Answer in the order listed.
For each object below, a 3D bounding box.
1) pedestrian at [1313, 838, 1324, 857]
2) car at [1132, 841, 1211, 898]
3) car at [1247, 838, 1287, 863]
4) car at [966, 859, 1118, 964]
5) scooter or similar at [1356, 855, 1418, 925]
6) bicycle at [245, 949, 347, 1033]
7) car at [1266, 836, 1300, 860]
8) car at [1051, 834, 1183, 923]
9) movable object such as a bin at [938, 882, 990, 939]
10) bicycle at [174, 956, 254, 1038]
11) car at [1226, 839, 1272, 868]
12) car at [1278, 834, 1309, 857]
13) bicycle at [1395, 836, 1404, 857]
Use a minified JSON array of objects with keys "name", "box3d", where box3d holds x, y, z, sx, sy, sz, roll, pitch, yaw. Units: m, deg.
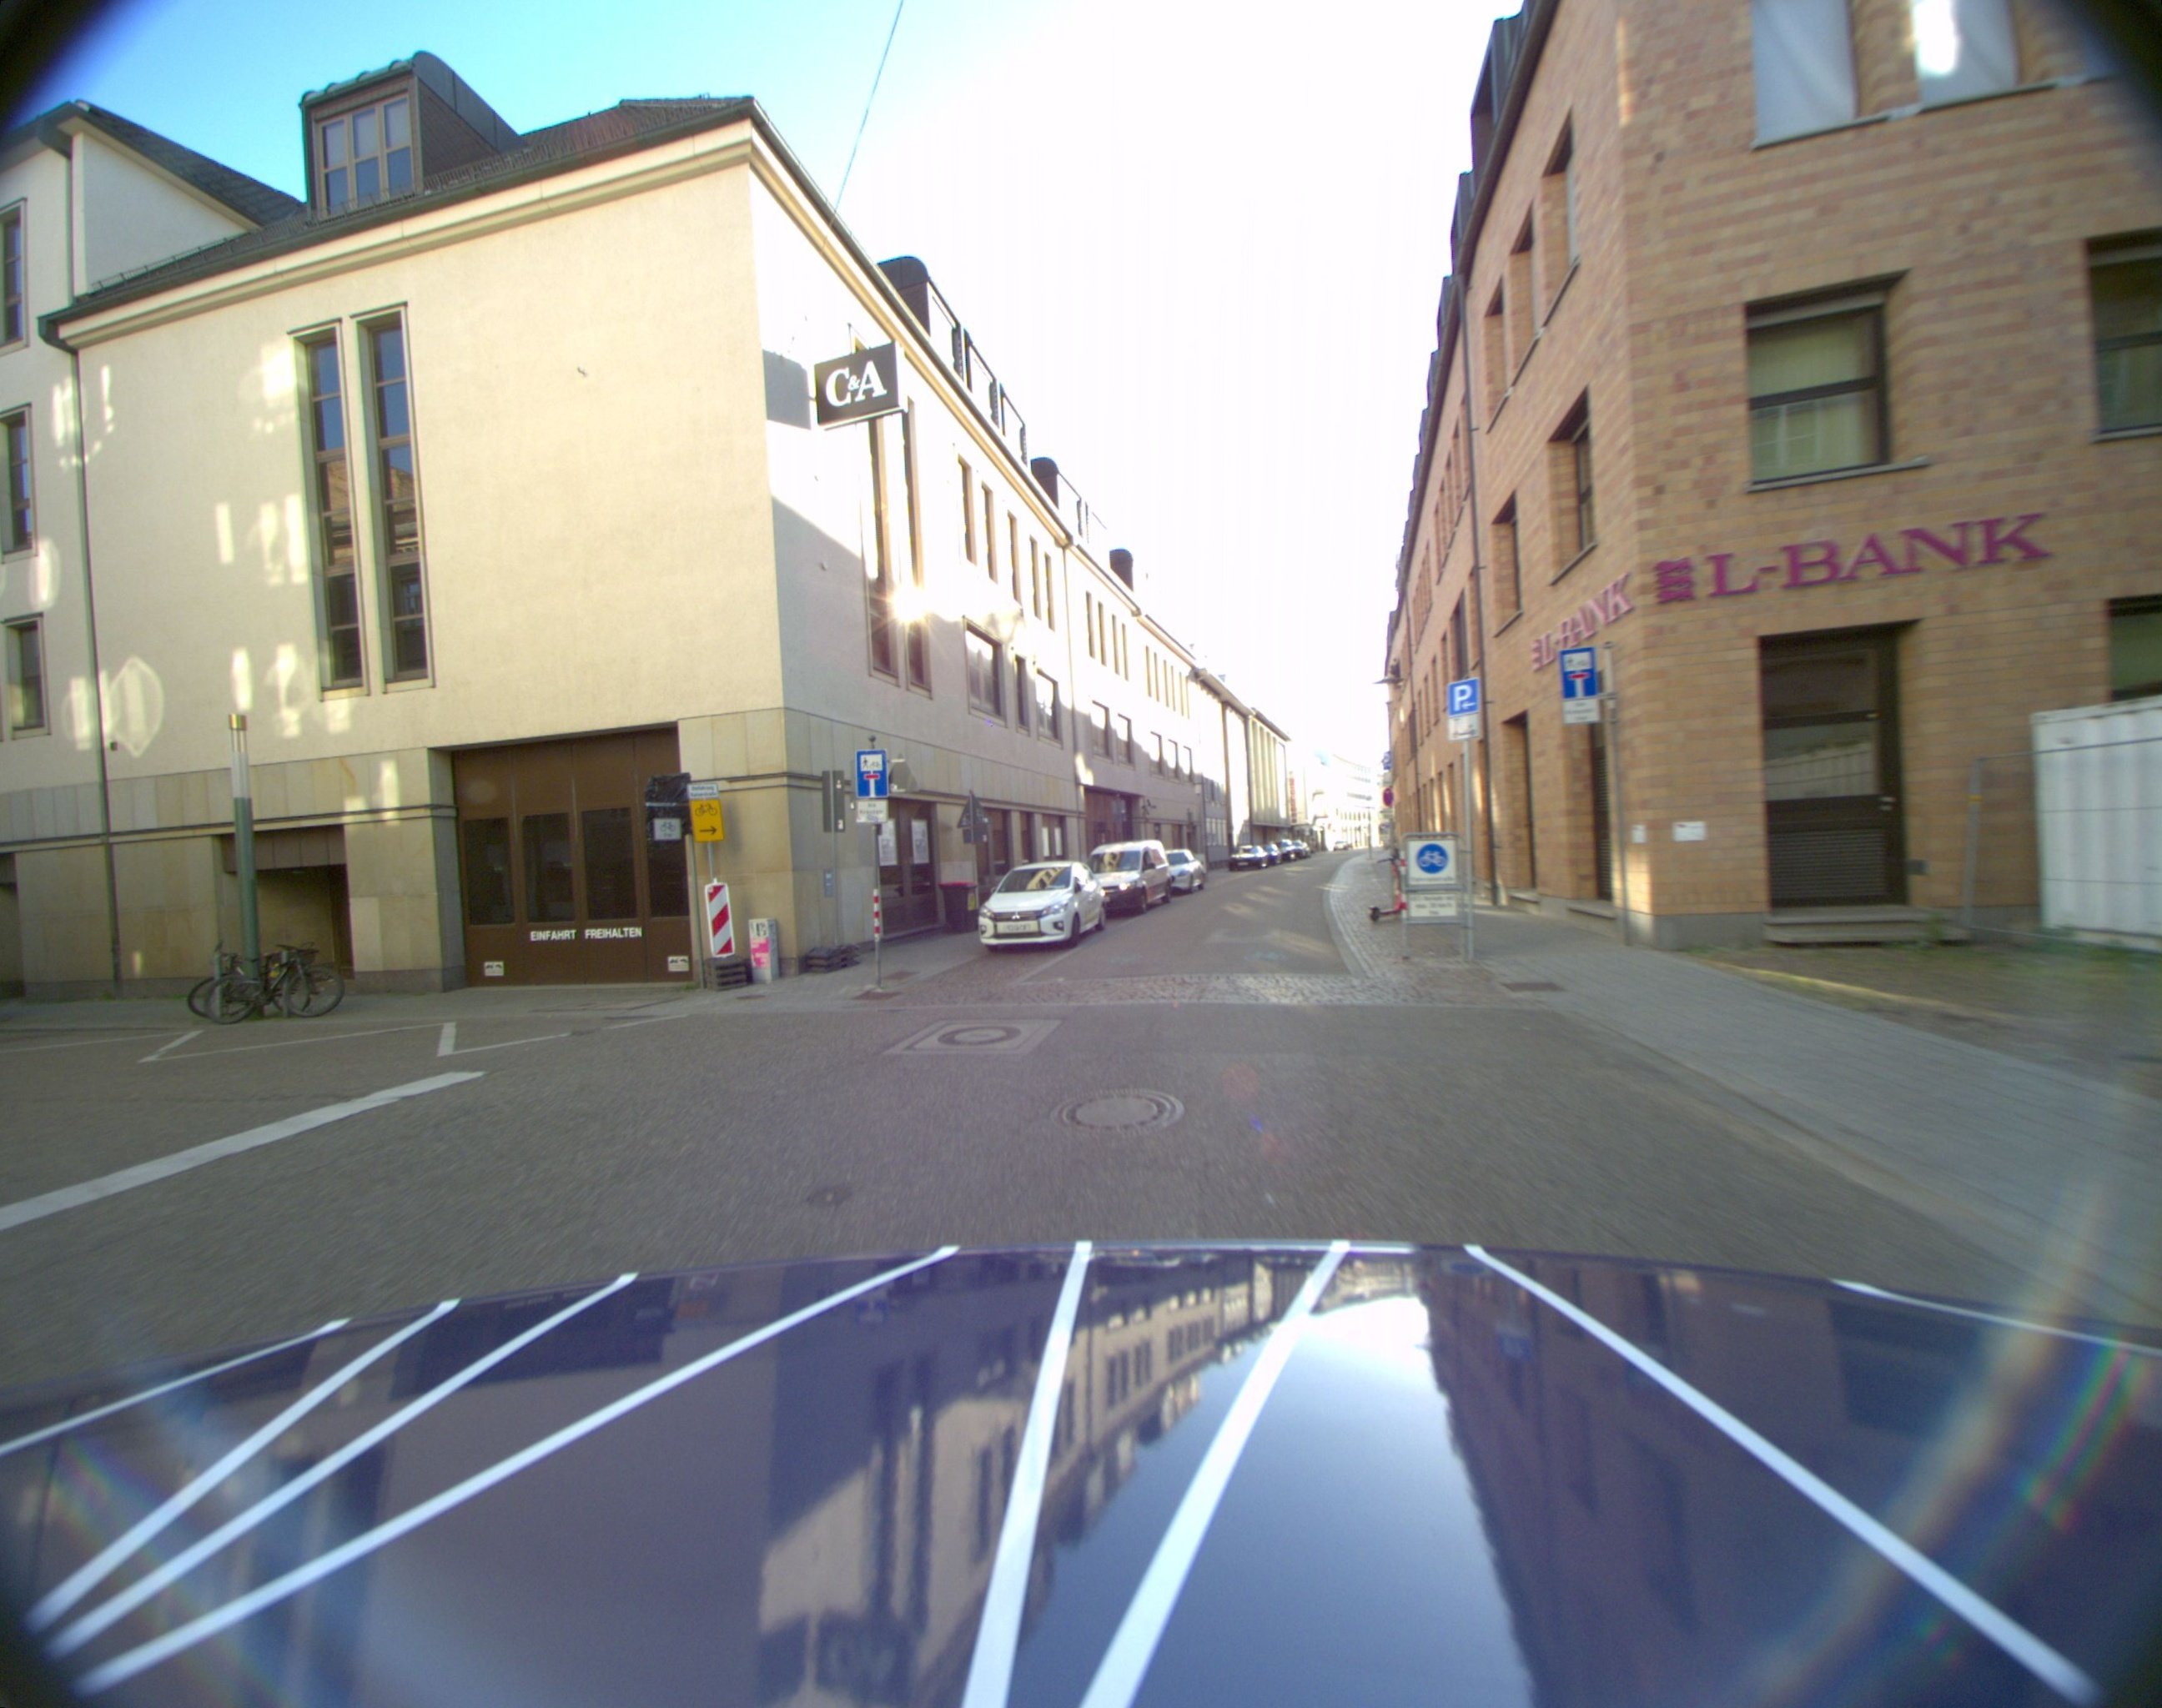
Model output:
[{"name":"pedestrian","box3d":[27.036,-0.745,86.497,0.944,2.002,0.900,-4,1,1]},{"name":"car","box3d":[3.170,0.483,25.919,1.774,1.574,3.861,-7,-1,18]},{"name":"car","box3d":[12.633,-0.241,51.408,1.963,1.400,4.201,-4,0,21]},{"name":"car","box3d":[-0.555,0.956,14.342,1.734,1.539,4.003,-4,0,13]},{"name":"scooter or similar","box3d":[5.693,0.650,14.117,1.302,1.218,0.467,-2,1,-38]},{"name":"bicycle","box3d":[-11.256,1.930,10.882,1.648,1.067,0.488,-4,1,27]},{"name":"car","box3d":[15.178,-0.457,56.945,1.963,1.527,4.201,-4,0,21]},{"name":"car","box3d":[1.135,0.518,20.081,1.945,1.850,5.200,-7,-1,18]},{"name":"movable object such as a bin","box3d":[-2.437,1.170,15.947,0.687,1.079,0.930,-4,1,14]},{"name":"bicycle","box3d":[-12.282,1.992,10.752,1.418,1.002,0.471,-4,1,32]},{"name":"car","box3d":[10.098,-0.058,45.346,1.963,1.400,4.201,-4,0,21]},{"name":"car","box3d":[17.836,-0.751,63.600,1.963,1.637,4.201,-4,0,21]},{"name":"bicycle","box3d":[18.754,-0.442,44.739,0.431,1.137,1.692,-3,1,23]}]
